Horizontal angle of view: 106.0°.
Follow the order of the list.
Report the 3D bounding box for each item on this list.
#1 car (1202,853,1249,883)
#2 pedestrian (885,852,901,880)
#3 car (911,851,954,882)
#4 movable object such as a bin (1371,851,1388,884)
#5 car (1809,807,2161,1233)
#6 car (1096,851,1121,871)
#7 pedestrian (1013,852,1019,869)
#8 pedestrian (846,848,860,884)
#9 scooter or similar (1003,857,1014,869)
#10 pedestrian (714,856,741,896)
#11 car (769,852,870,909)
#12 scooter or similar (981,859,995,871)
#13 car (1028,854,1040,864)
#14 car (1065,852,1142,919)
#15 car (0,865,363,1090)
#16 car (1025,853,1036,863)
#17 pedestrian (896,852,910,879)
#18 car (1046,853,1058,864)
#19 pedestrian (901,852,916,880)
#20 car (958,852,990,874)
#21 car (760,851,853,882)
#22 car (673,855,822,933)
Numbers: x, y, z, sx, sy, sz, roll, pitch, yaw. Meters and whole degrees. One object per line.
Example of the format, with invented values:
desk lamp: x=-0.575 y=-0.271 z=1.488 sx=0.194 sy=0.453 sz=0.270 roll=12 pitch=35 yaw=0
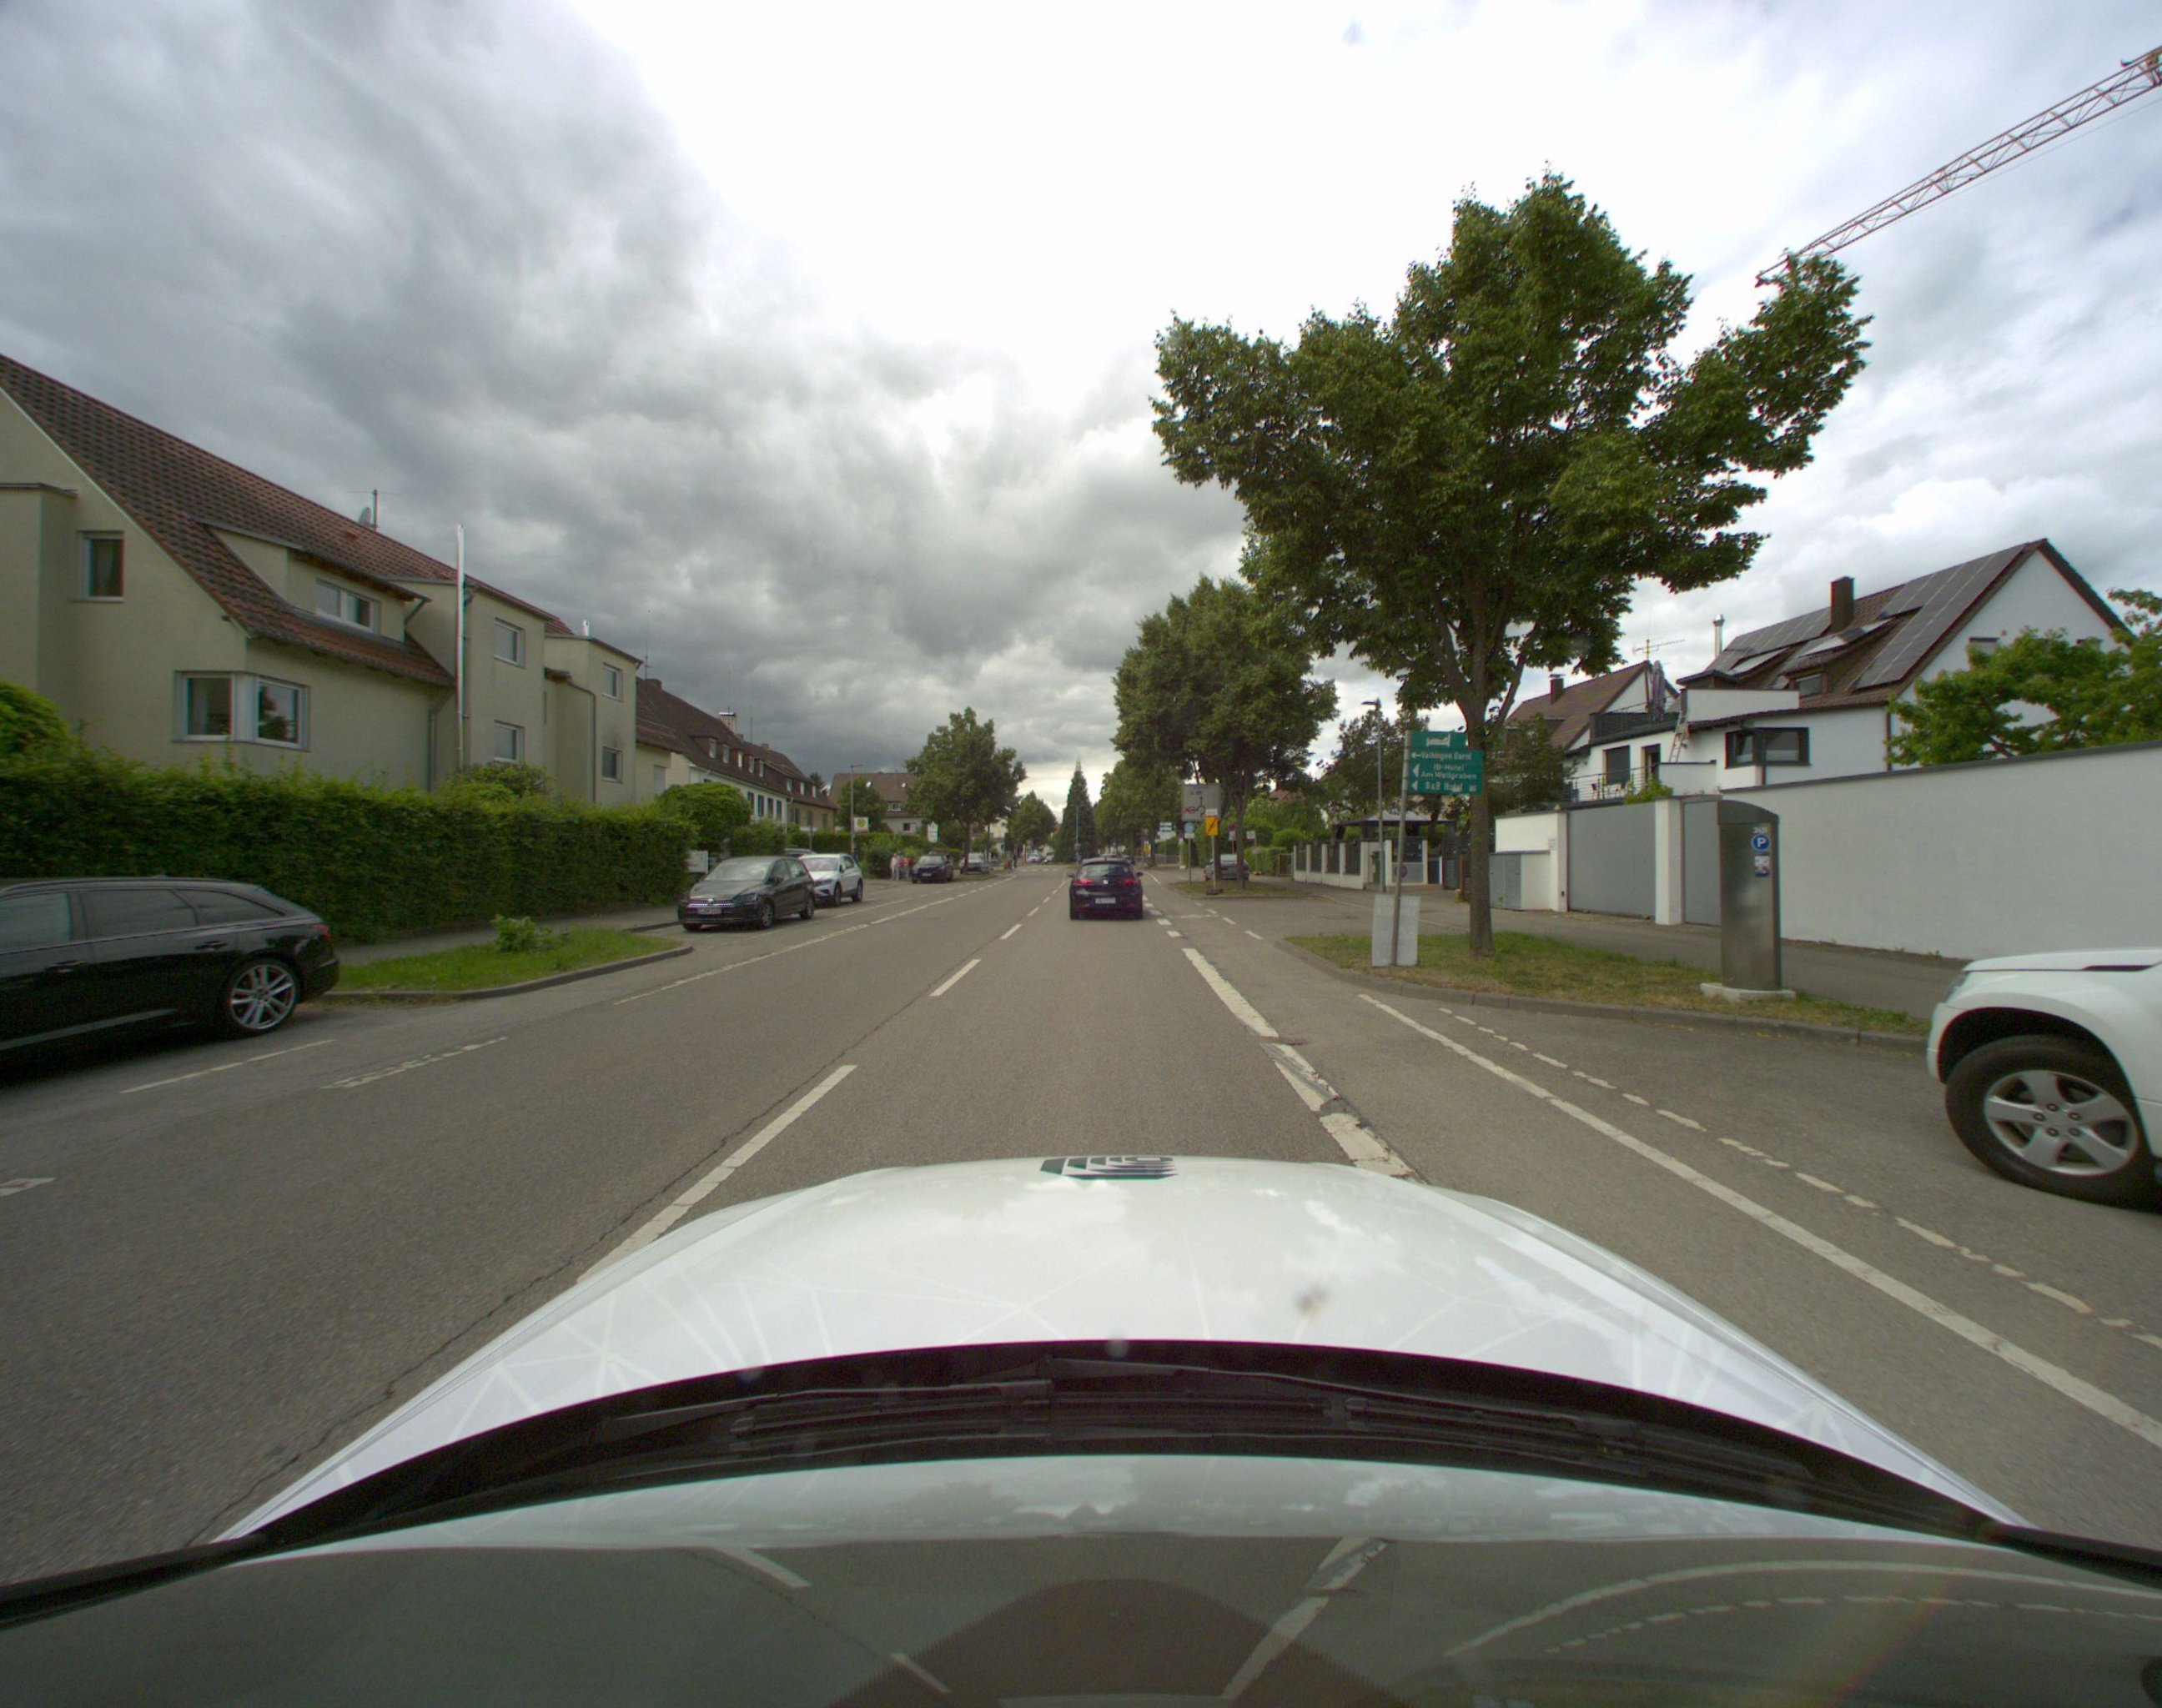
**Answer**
car: x=6.951 y=0.695 z=39.455 sx=1.606 sy=1.377 sz=4.388 roll=-1 pitch=-1 yaw=1
pedestrian: x=-11.111 y=0.708 z=48.075 sx=0.786 sy=1.663 sz=0.879 roll=-1 pitch=0 yaw=-6
car: x=-8.540 y=0.714 z=47.314 sx=1.719 sy=1.725 sz=4.563 roll=0 pitch=0 yaw=-1
movable object such as a bin: x=10.172 y=0.450 z=27.752 sx=0.434 sy=1.109 sz=0.455 roll=-1 pitch=0 yaw=2
car: x=5.098 y=0.627 z=2.607 sx=1.894 sy=1.642 sz=4.117 roll=-1 pitch=0 yaw=1
car: x=2.250 y=0.546 z=67.177 sx=1.986 sy=1.613 sz=4.002 roll=0 pitch=0 yaw=2
pedestrian: x=-6.264 y=0.640 z=78.518 sx=0.514 sy=1.669 sz=0.481 roll=-1 pitch=0 yaw=-12
pedestrian: x=-11.540 y=0.603 z=41.256 sx=0.502 sy=1.806 sz=0.671 roll=-1 pitch=0 yaw=1
scooter or similar: x=-6.984 y=0.893 z=78.492 sx=0.961 sy=1.095 sz=0.408 roll=2 pitch=-1 yaw=7
pedestrian: x=-14.143 y=0.881 z=32.599 sx=0.667 sy=1.560 sz=0.838 roll=-1 pitch=0 yaw=6
car: x=-8.217 y=0.779 z=26.020 sx=1.816 sy=1.634 sz=4.583 roll=-1 pitch=0 yaw=-2
scooter or similar: x=-8.707 y=1.035 z=76.396 sx=1.292 sy=1.139 sz=0.344 roll=-1 pitch=0 yaw=-31
car: x=-8.210 y=0.810 z=141.369 sx=1.792 sy=1.601 sz=3.999 roll=-1 pitch=0 yaw=0
car: x=0.645 y=0.724 z=20.418 sx=1.724 sy=1.486 sz=4.004 roll=-1 pitch=0 yaw=4
car: x=-8.331 y=0.876 z=5.897 sx=1.988 sy=1.485 sz=4.887 roll=-1 pitch=0 yaw=-2
car: x=-9.899 y=0.724 z=159.539 sx=2.024 sy=1.970 sz=3.997 roll=-1 pitch=0 yaw=-2
pedestrian: x=-10.806 y=0.695 z=49.476 sx=0.786 sy=1.663 sz=0.590 roll=-1 pitch=0 yaw=-6
car: x=-4.200 y=0.625 z=117.896 sx=1.563 sy=1.634 sz=3.622 roll=-1 pitch=0 yaw=0
pedestrian: x=-10.272 y=0.709 z=48.449 sx=0.786 sy=1.663 sz=0.753 roll=0 pitch=0 yaw=-6
car: x=-8.359 y=0.673 z=63.931 sx=1.854 sy=1.653 sz=4.296 roll=0 pitch=0 yaw=2
car: x=-14.393 y=0.663 z=43.015 sx=4.522 sy=1.554 sz=2.025 roll=1 pitch=-1 yaw=-16
car: x=-7.468 y=0.813 z=18.706 sx=1.672 sy=1.552 sz=4.271 roll=-1 pitch=0 yaw=0
